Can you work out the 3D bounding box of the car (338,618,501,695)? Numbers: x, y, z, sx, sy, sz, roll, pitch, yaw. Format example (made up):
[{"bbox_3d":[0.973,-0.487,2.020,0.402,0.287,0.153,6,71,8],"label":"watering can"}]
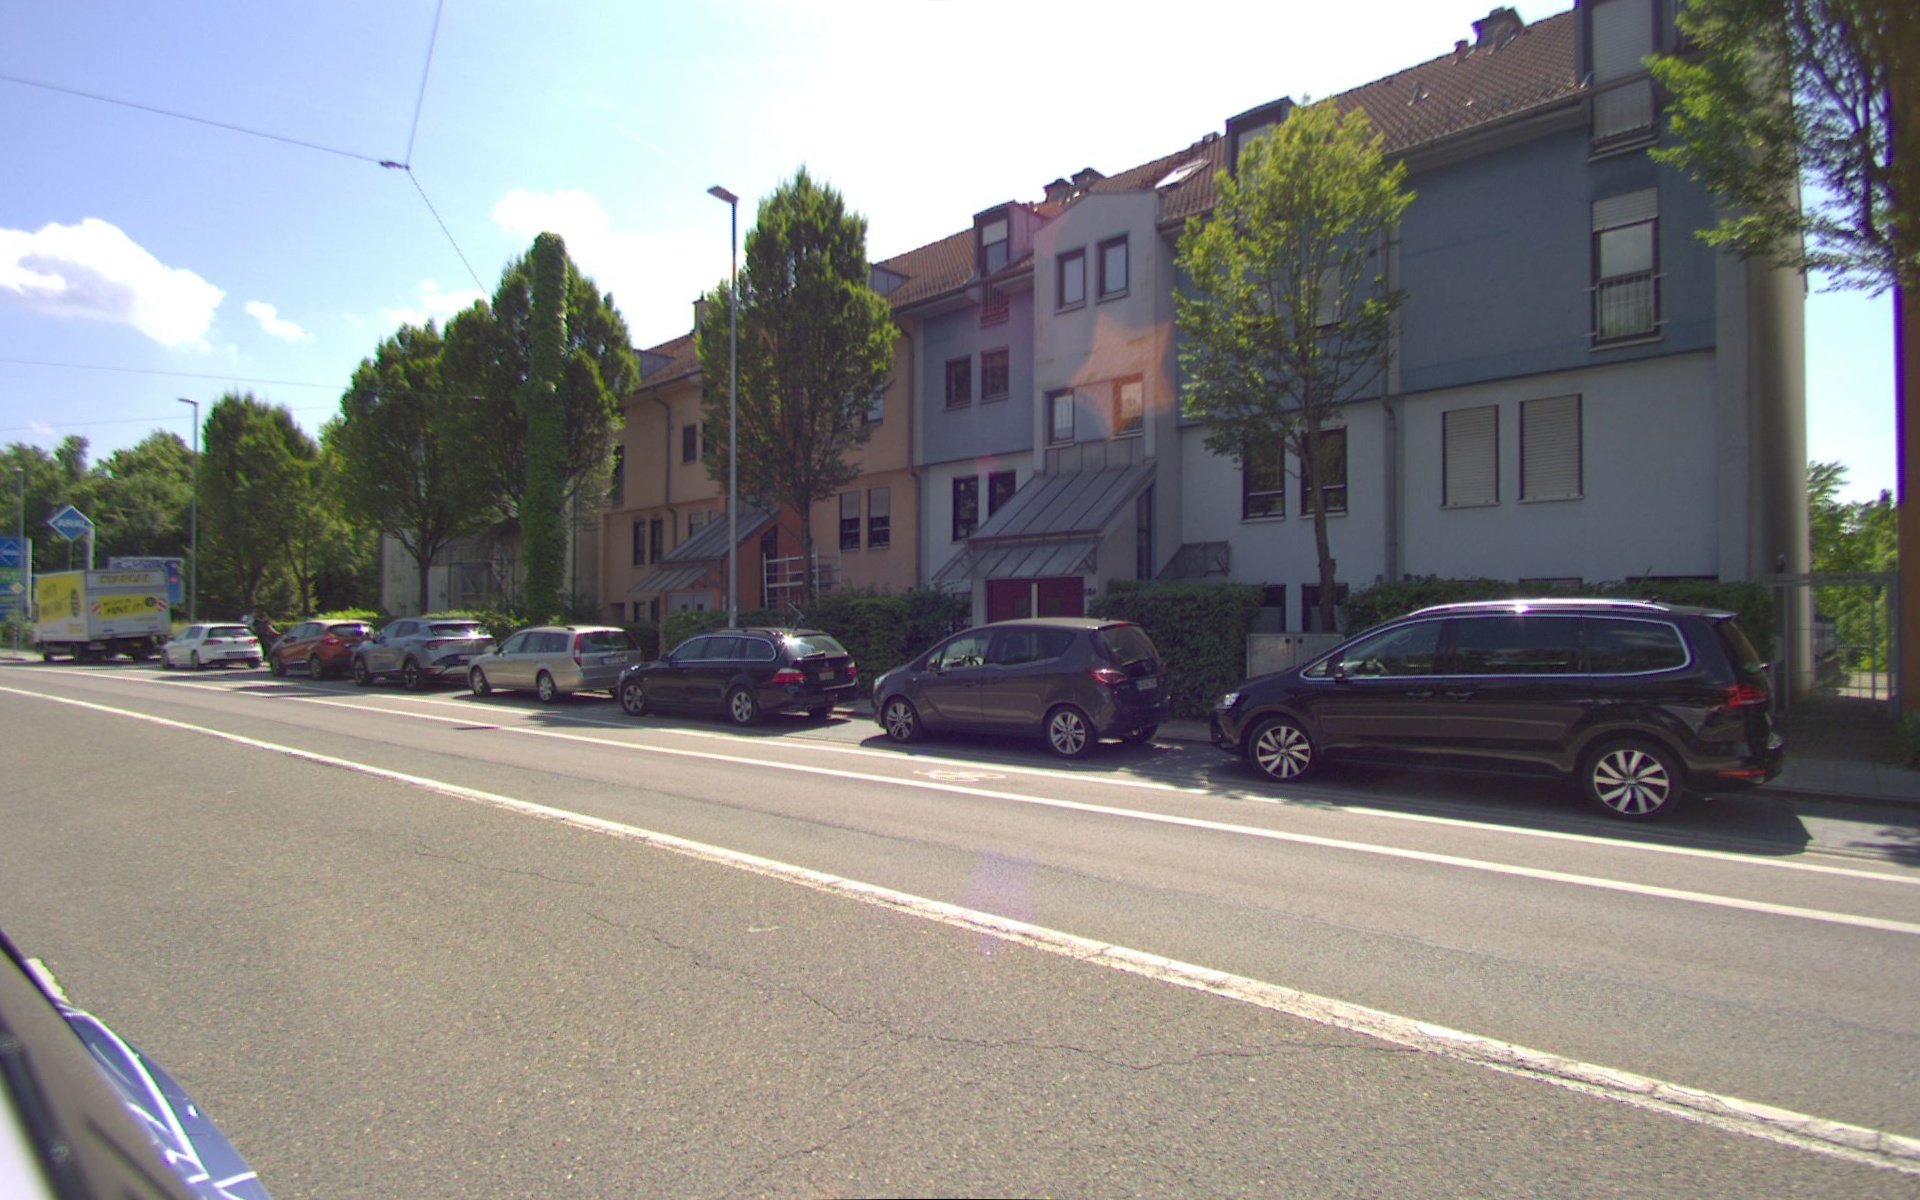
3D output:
[{"bbox_3d":[-12.899,1.282,24.024,4.681,1.621,1.640,-1,0,38],"label":"car"}]

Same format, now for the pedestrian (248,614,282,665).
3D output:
[{"bbox_3d":[-24.617,1.392,35.873,0.696,1.808,0.682,0,-2,8],"label":"pedestrian"}]

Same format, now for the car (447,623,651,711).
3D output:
[{"bbox_3d":[-8.533,1.289,20.809,4.888,1.519,1.640,0,1,38],"label":"car"}]

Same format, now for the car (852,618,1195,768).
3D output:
[{"bbox_3d":[0.691,1.055,13.002,4.282,1.630,1.638,-1,-2,40],"label":"car"}]

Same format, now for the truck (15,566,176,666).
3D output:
[{"bbox_3d":[-34.020,0.628,39.715,8.151,3.575,2.807,-1,0,35],"label":"truck"}]

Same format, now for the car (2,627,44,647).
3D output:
[{"bbox_3d":[-83.412,3.281,90.088,3.988,1.683,1.829,-1,-2,33],"label":"car"}]

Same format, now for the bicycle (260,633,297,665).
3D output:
[{"bbox_3d":[-24.259,1.741,36.021,1.659,1.134,0.453,-1,-2,31],"label":"bicycle"}]

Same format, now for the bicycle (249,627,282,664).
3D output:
[{"bbox_3d":[-25.371,1.670,36.970,1.662,1.326,0.452,-1,-2,37],"label":"bicycle"}]

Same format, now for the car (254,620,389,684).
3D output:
[{"bbox_3d":[-17.499,1.355,27.695,4.164,1.621,1.641,-1,-1,35],"label":"car"}]

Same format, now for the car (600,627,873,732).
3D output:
[{"bbox_3d":[-3.836,1.199,16.803,4.958,1.457,1.724,-1,0,39],"label":"car"}]

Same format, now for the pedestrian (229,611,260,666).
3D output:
[{"bbox_3d":[-25.503,1.360,36.063,0.633,1.937,0.710,0,-2,-12],"label":"pedestrian"}]

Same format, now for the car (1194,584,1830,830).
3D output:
[{"bbox_3d":[4.795,0.820,9.376,4.884,1.729,1.733,-2,-2,41],"label":"car"}]

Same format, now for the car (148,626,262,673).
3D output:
[{"bbox_3d":[-24.405,1.558,32.658,4.387,1.421,1.641,-1,-2,35],"label":"car"}]
